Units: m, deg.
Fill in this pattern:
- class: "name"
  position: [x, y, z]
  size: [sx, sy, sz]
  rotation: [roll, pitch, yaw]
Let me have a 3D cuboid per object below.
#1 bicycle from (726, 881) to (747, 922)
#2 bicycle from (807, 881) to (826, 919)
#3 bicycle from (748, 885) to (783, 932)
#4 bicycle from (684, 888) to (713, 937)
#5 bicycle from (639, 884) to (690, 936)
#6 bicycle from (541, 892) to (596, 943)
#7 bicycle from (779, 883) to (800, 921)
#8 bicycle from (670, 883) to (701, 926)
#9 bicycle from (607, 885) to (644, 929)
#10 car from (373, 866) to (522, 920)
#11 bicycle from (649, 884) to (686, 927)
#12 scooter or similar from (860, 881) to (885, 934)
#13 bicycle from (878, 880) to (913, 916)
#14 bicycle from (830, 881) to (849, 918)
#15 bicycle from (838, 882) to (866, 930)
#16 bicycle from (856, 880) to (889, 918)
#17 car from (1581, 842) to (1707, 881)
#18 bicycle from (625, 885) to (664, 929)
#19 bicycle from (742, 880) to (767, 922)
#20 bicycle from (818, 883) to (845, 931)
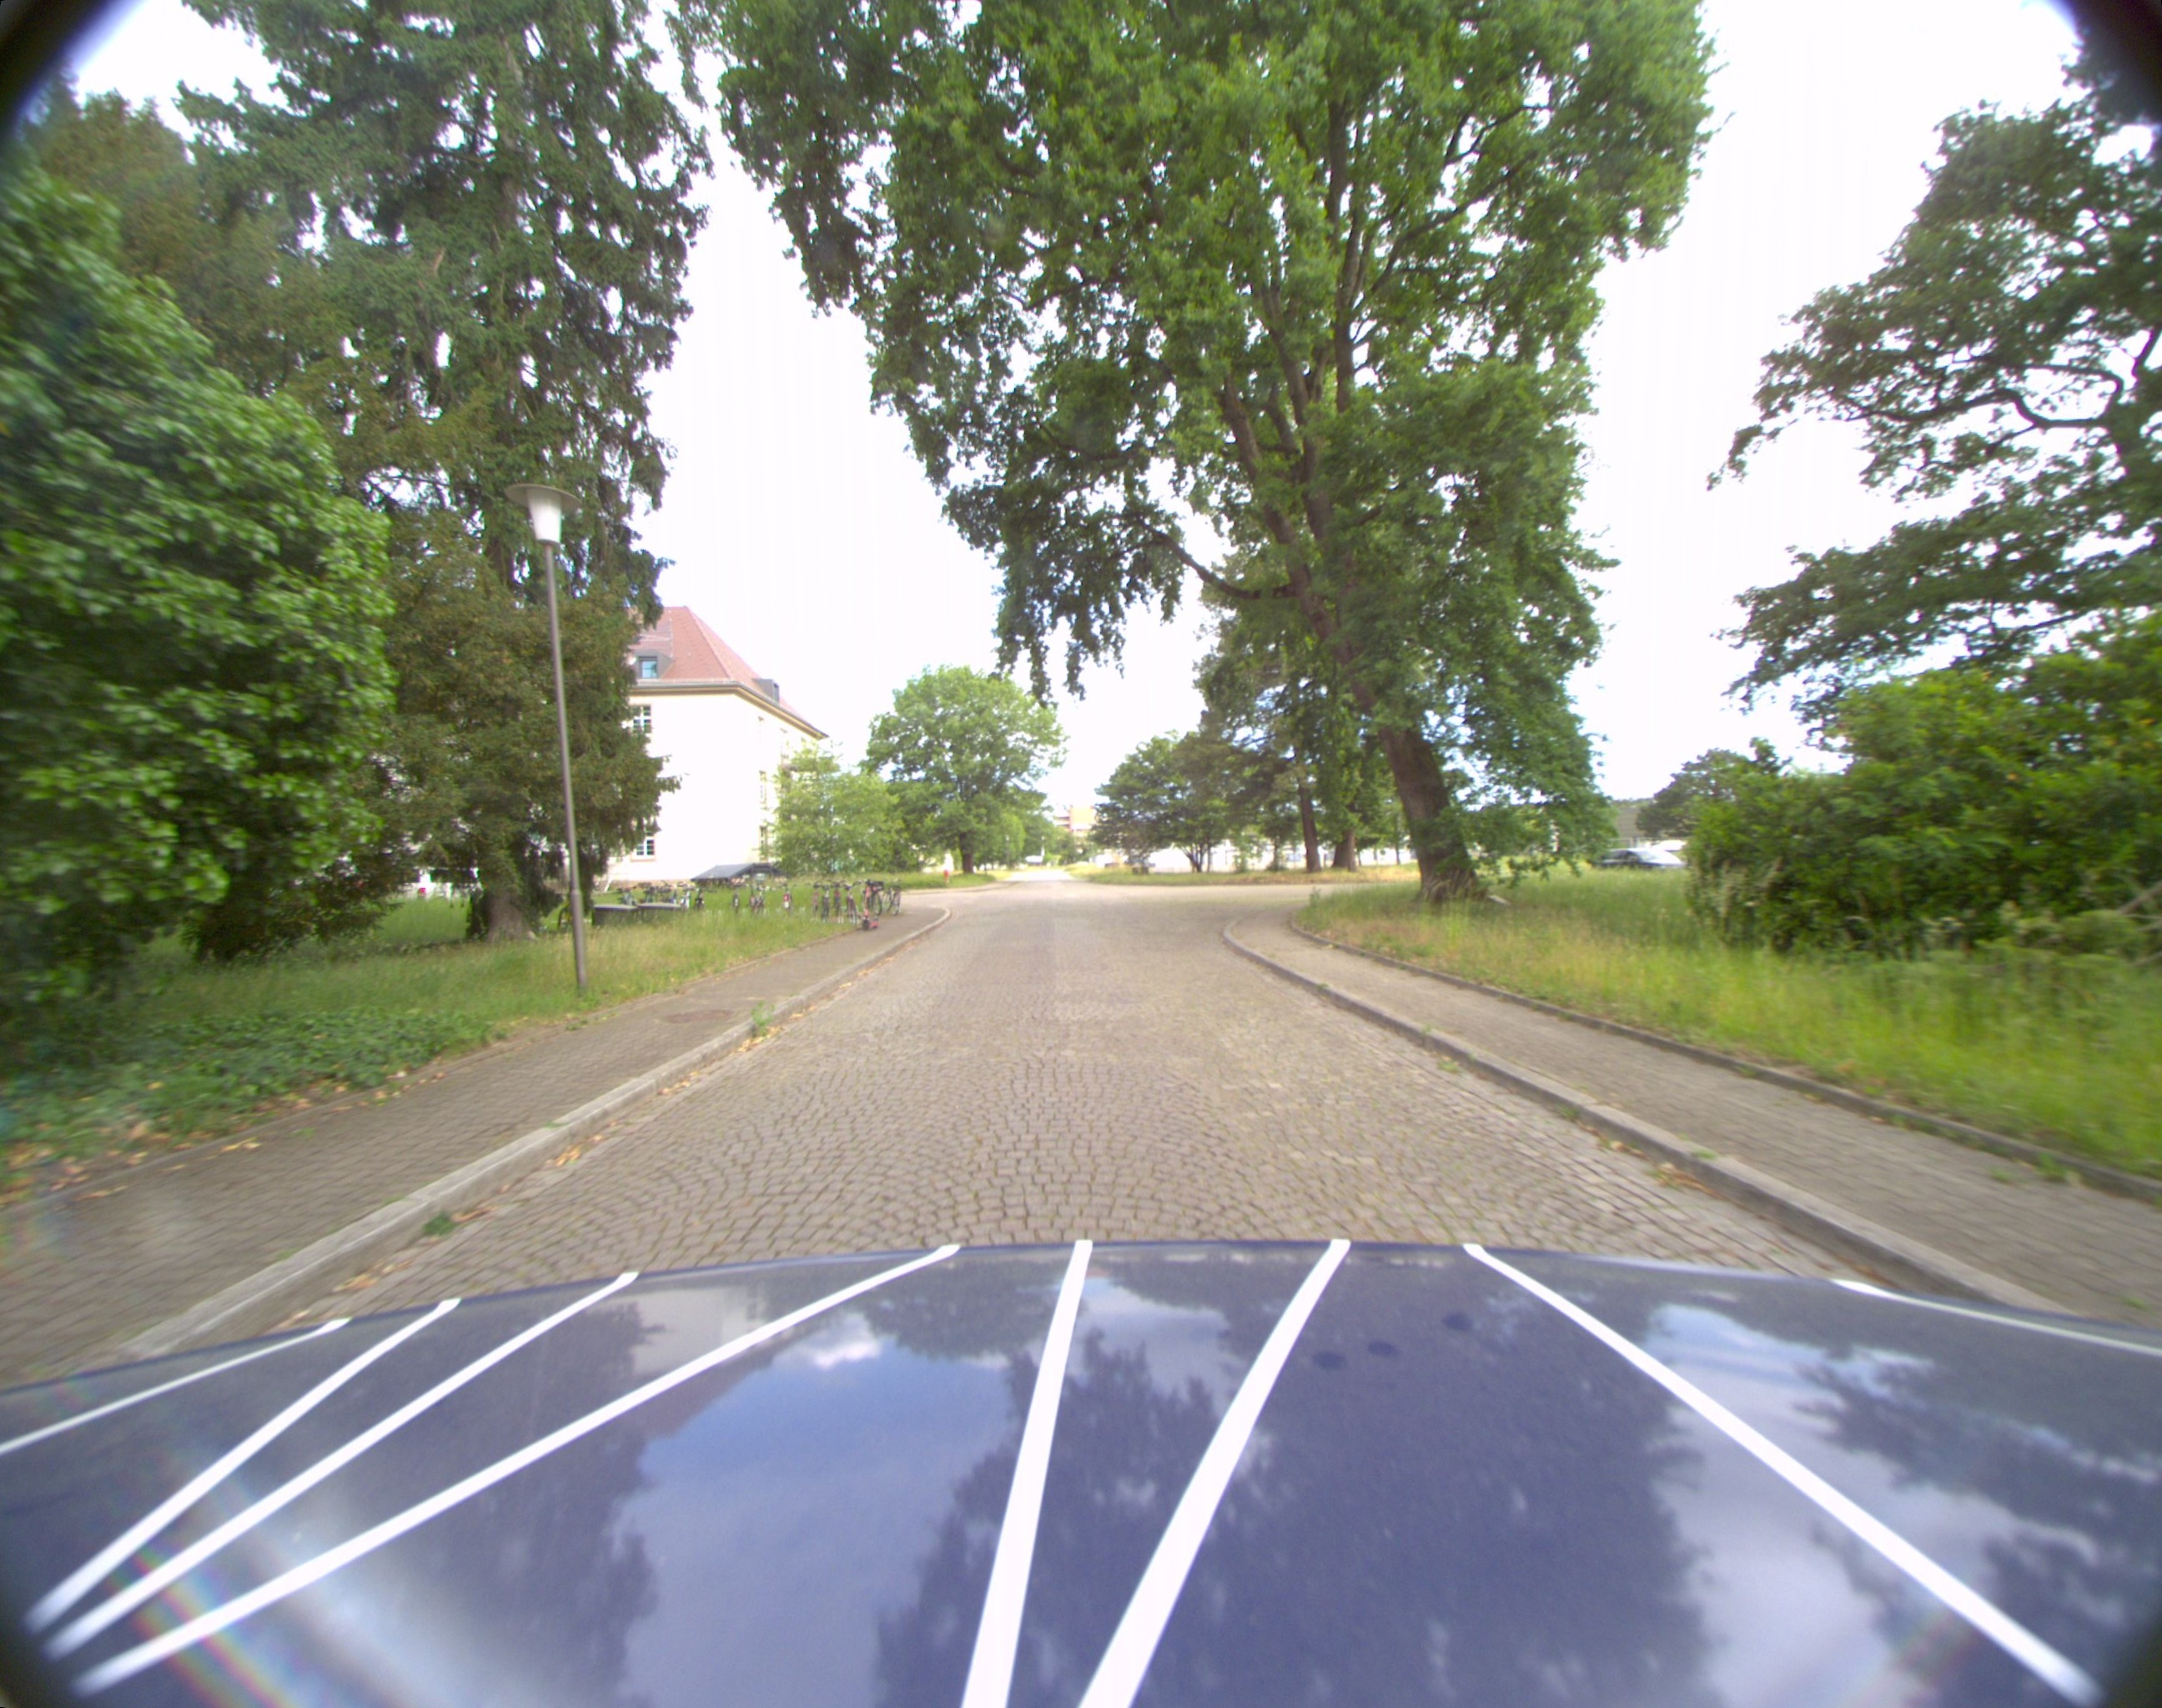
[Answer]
- class: "bicycle"
  position: [-10.073, 1.371, 22.233]
  size: [0.478, 1.105, 1.762]
  rotation: [-2, 0, -24]
- class: "bicycle"
  position: [-7.930, 1.375, 22.842]
  size: [0.478, 1.002, 1.664]
  rotation: [-2, 2, -18]
- class: "bicycle"
  position: [-7.928, 1.344, 19.064]
  size: [0.619, 1.059, 1.822]
  rotation: [-2, 0, -28]
- class: "bicycle"
  position: [-9.309, 1.393, 18.467]
  size: [0.552, 1.059, 1.750]
  rotation: [-2, 0, -28]
- class: "bicycle"
  position: [-10.420, 1.380, 19.046]
  size: [0.551, 1.164, 1.752]
  rotation: [-2, 0, -10]
- class: "bicycle"
  position: [-11.807, 1.446, 17.554]
  size: [0.552, 1.036, 1.681]
  rotation: [-2, 0, -17]
- class: "bicycle"
  position: [-8.698, 1.405, 22.724]
  size: [0.478, 1.002, 1.664]
  rotation: [-2, 2, -18]
- class: "bicycle"
  position: [-11.295, 1.415, 21.753]
  size: [0.478, 1.105, 1.762]
  rotation: [-2, 0, -18]
- class: "bicycle"
  position: [-12.765, 1.470, 21.336]
  size: [0.478, 1.105, 1.762]
  rotation: [-2, 0, -18]
- class: "car"
  position: [-26.512, 1.558, 32.114]
  size: [1.967, 1.985, 5.275]
  rotation: [-2, 0, -3]
- class: "bicycle"
  position: [-11.681, 1.434, 21.504]
  size: [0.442, 1.105, 1.650]
  rotation: [-2, 0, -13]
- class: "scooter or similar"
  position: [-5.067, 1.279, 18.500]
  size: [0.357, 1.202, 1.137]
  rotation: [-2, 0, -6]
- class: "bicycle"
  position: [-5.763, 1.358, 23.543]
  size: [0.478, 1.002, 1.618]
  rotation: [-3, 2, -33]
- class: "bicycle"
  position: [-7.323, 1.351, 22.978]
  size: [0.478, 1.002, 1.664]
  rotation: [-2, 2, -18]
- class: "bicycle"
  position: [-5.955, 1.321, 19.695]
  size: [0.552, 1.108, 1.767]
  rotation: [-2, 0, -20]
- class: "bicycle"
  position: [-6.472, 1.364, 23.539]
  size: [0.478, 1.068, 1.618]
  rotation: [-3, 2, -33]
- class: "car"
  position: [22.361, 0.325, 30.421]
  size: [1.763, 1.396, 4.356]
  rotation: [-2, -1, 0]
- class: "bicycle"
  position: [-12.160, 1.450, 21.215]
  size: [0.442, 1.105, 1.650]
  rotation: [-2, 0, -13]
- class: "bicycle"
  position: [-9.537, 1.348, 22.214]
  size: [0.478, 1.105, 1.762]
  rotation: [-2, 0, -18]
- class: "bicycle"
  position: [-6.398, 1.336, 19.471]
  size: [0.552, 1.108, 1.802]
  rotation: [-2, 0, -20]
